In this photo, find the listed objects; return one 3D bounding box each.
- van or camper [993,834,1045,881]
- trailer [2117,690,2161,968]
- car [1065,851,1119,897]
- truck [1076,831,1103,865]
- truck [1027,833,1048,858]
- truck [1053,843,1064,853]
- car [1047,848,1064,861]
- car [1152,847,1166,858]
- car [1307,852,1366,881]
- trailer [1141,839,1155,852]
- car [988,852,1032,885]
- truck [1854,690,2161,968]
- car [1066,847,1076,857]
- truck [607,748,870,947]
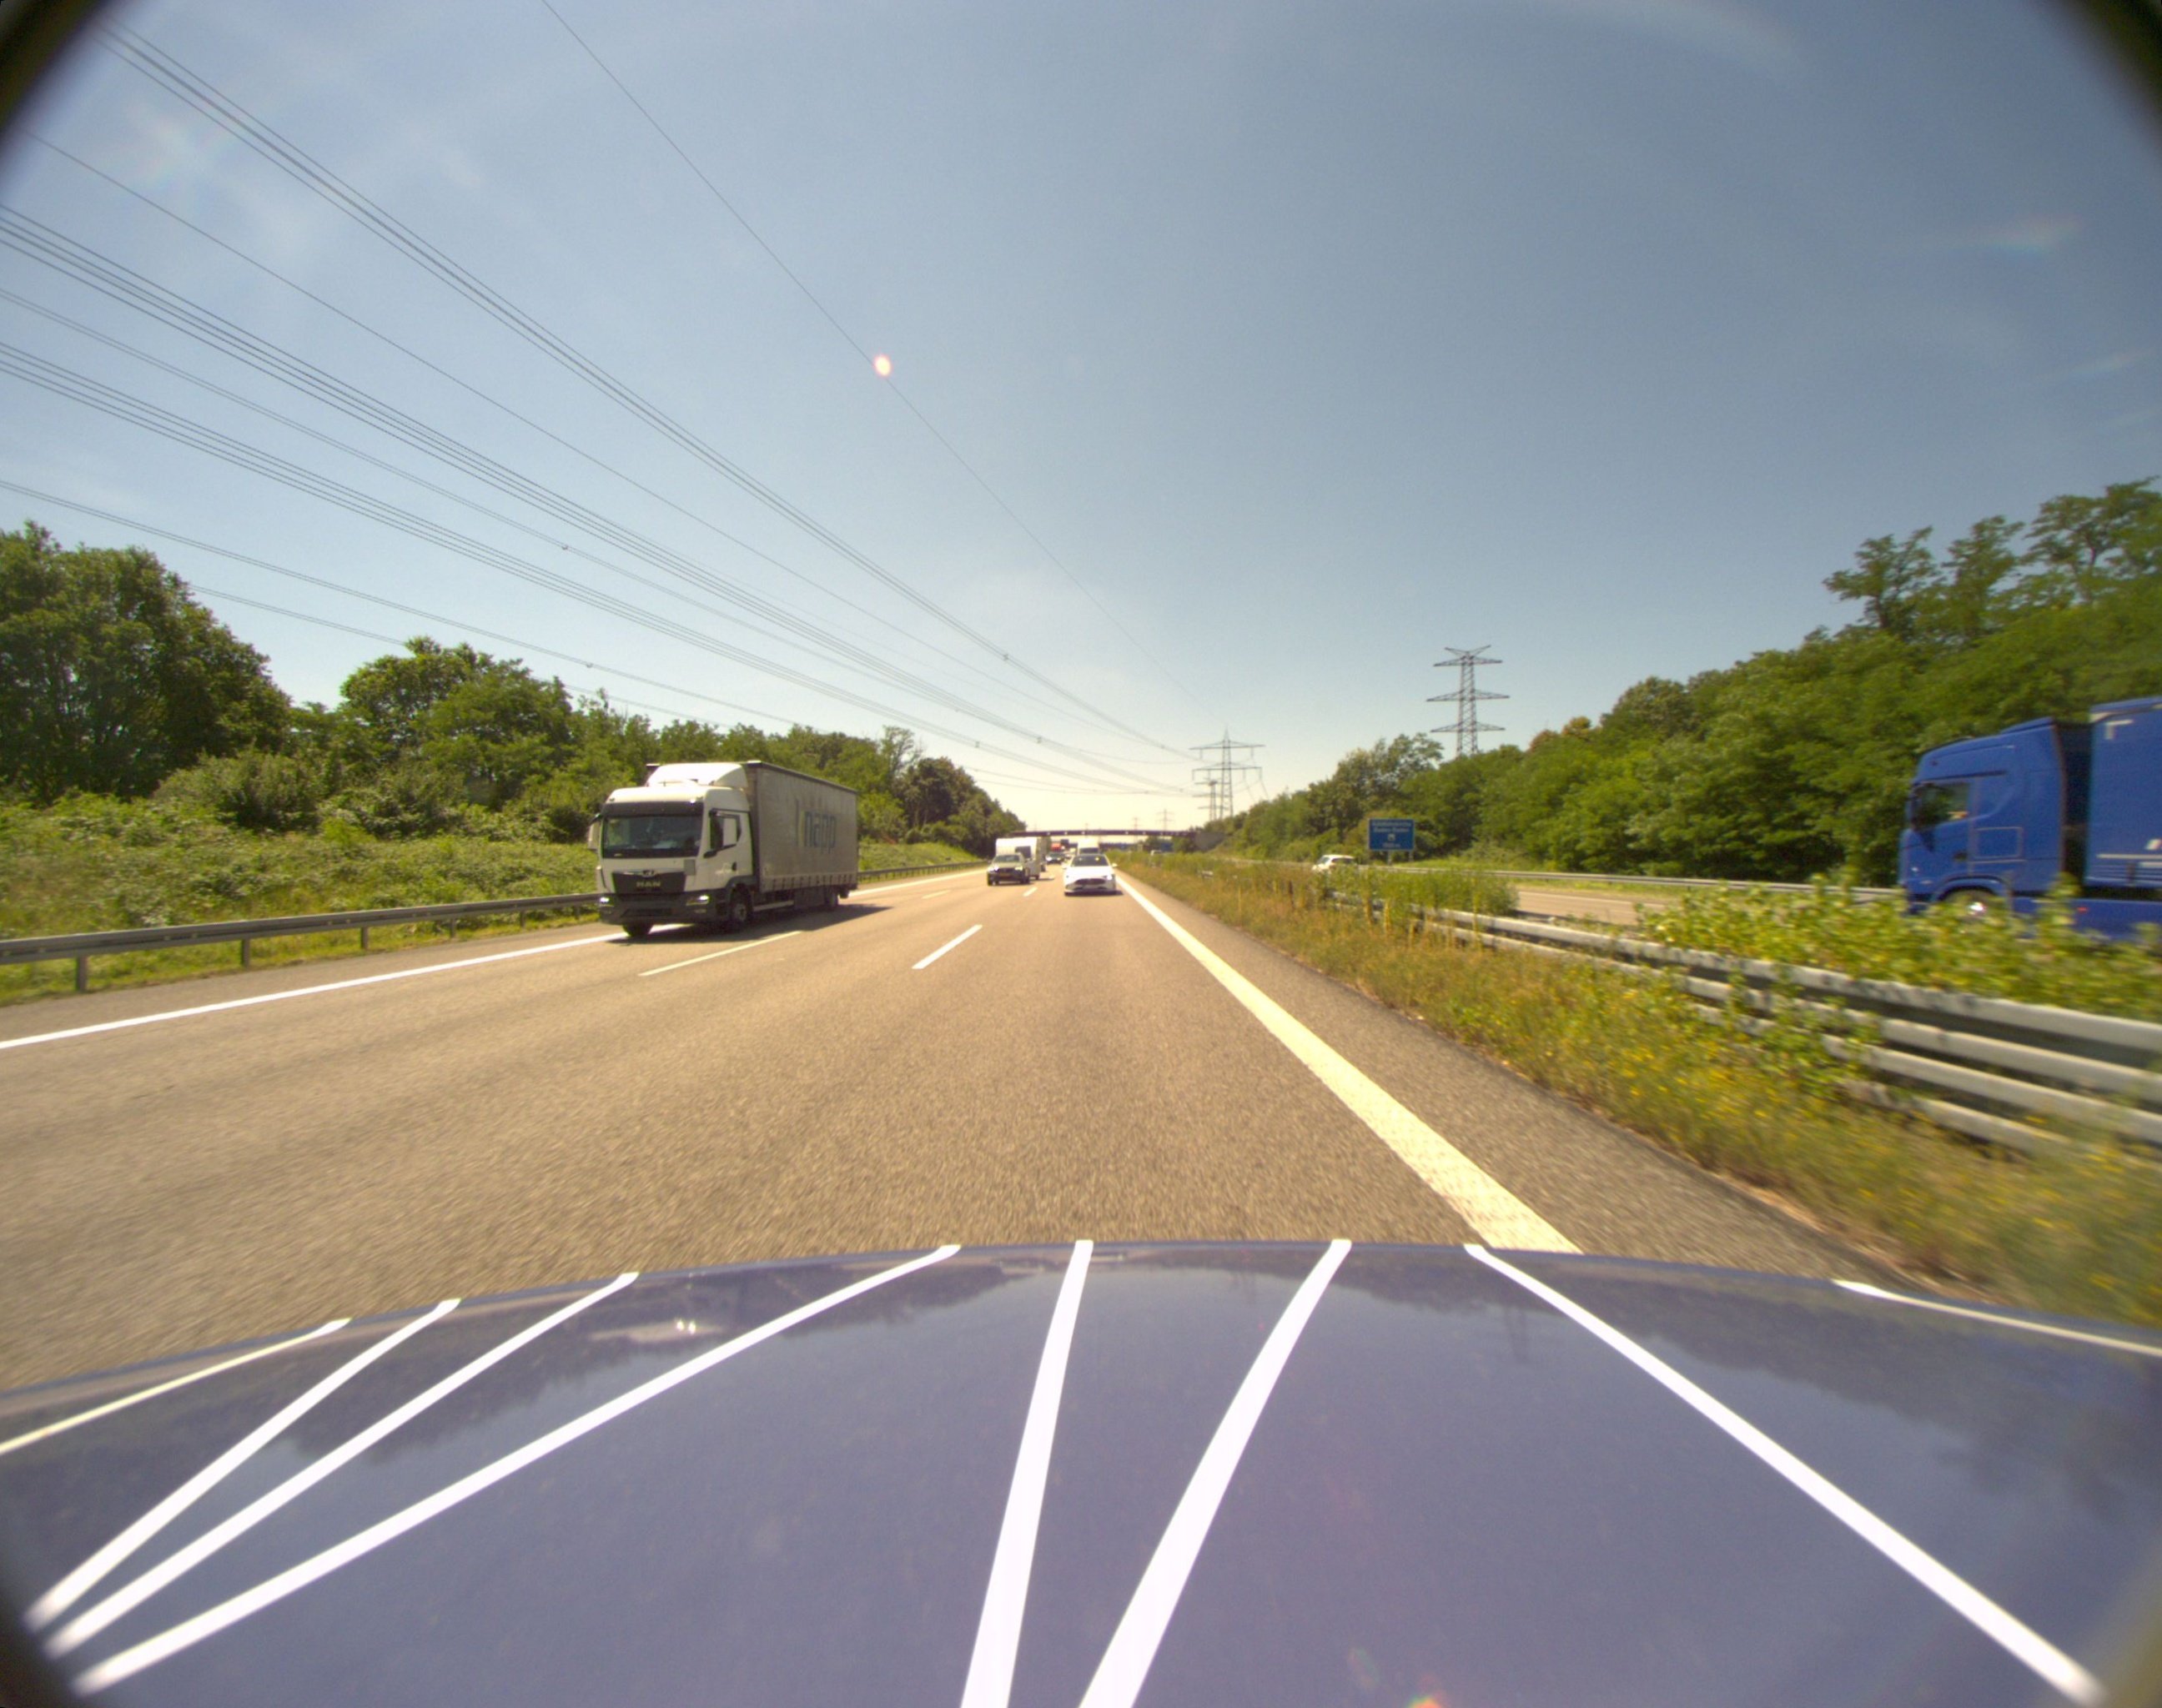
[{"bbox_3d":[-3.506,0.175,44.247,2.411,2.483,6.431,-1,0,1],"label":"van or camper"},{"bbox_3d":[17.163,-0.281,4.882,2.478,4.107,13.464,2,1,0],"label":"trailer"},{"bbox_3d":[0.391,0.683,27.925,1.788,1.462,3.999,-2,1,1],"label":"car"},{"bbox_3d":[0.763,-0.537,68.454,2.192,2.841,5.503,-3,0,1],"label":"truck"},{"bbox_3d":[-6.777,-1.332,119.322,2.584,3.704,8.279,-2,1,1],"label":"truck"},{"bbox_3d":[-6.390,-1.798,217.340,2.619,2.801,6.593,0,0,1],"label":"truck"},{"bbox_3d":[-3.304,0.025,99.185,1.904,1.662,4.000,-2,0,1],"label":"car"},{"bbox_3d":[14.899,-0.304,145.861,1.999,1.921,5.413,1,0,-1],"label":"car"},{"bbox_3d":[13.627,0.656,40.751,1.811,1.440,4.000,0,1,1],"label":"car"},{"bbox_3d":[19.815,-2.552,225.094,2.881,3.667,12.715,1,1,1],"label":"trailer"},{"bbox_3d":[-3.589,0.703,38.980,1.788,1.520,4.104,-1,0,1],"label":"car"},{"bbox_3d":[17.210,-0.348,12.787,2.473,4.110,5.683,2,1,1],"label":"truck"},{"bbox_3d":[-2.214,-0.490,162.405,1.998,2.002,4.000,0,1,1],"label":"car"},{"bbox_3d":[-7.930,-0.151,19.540,1.987,3.750,10.042,-2,0,1],"label":"truck"}]
